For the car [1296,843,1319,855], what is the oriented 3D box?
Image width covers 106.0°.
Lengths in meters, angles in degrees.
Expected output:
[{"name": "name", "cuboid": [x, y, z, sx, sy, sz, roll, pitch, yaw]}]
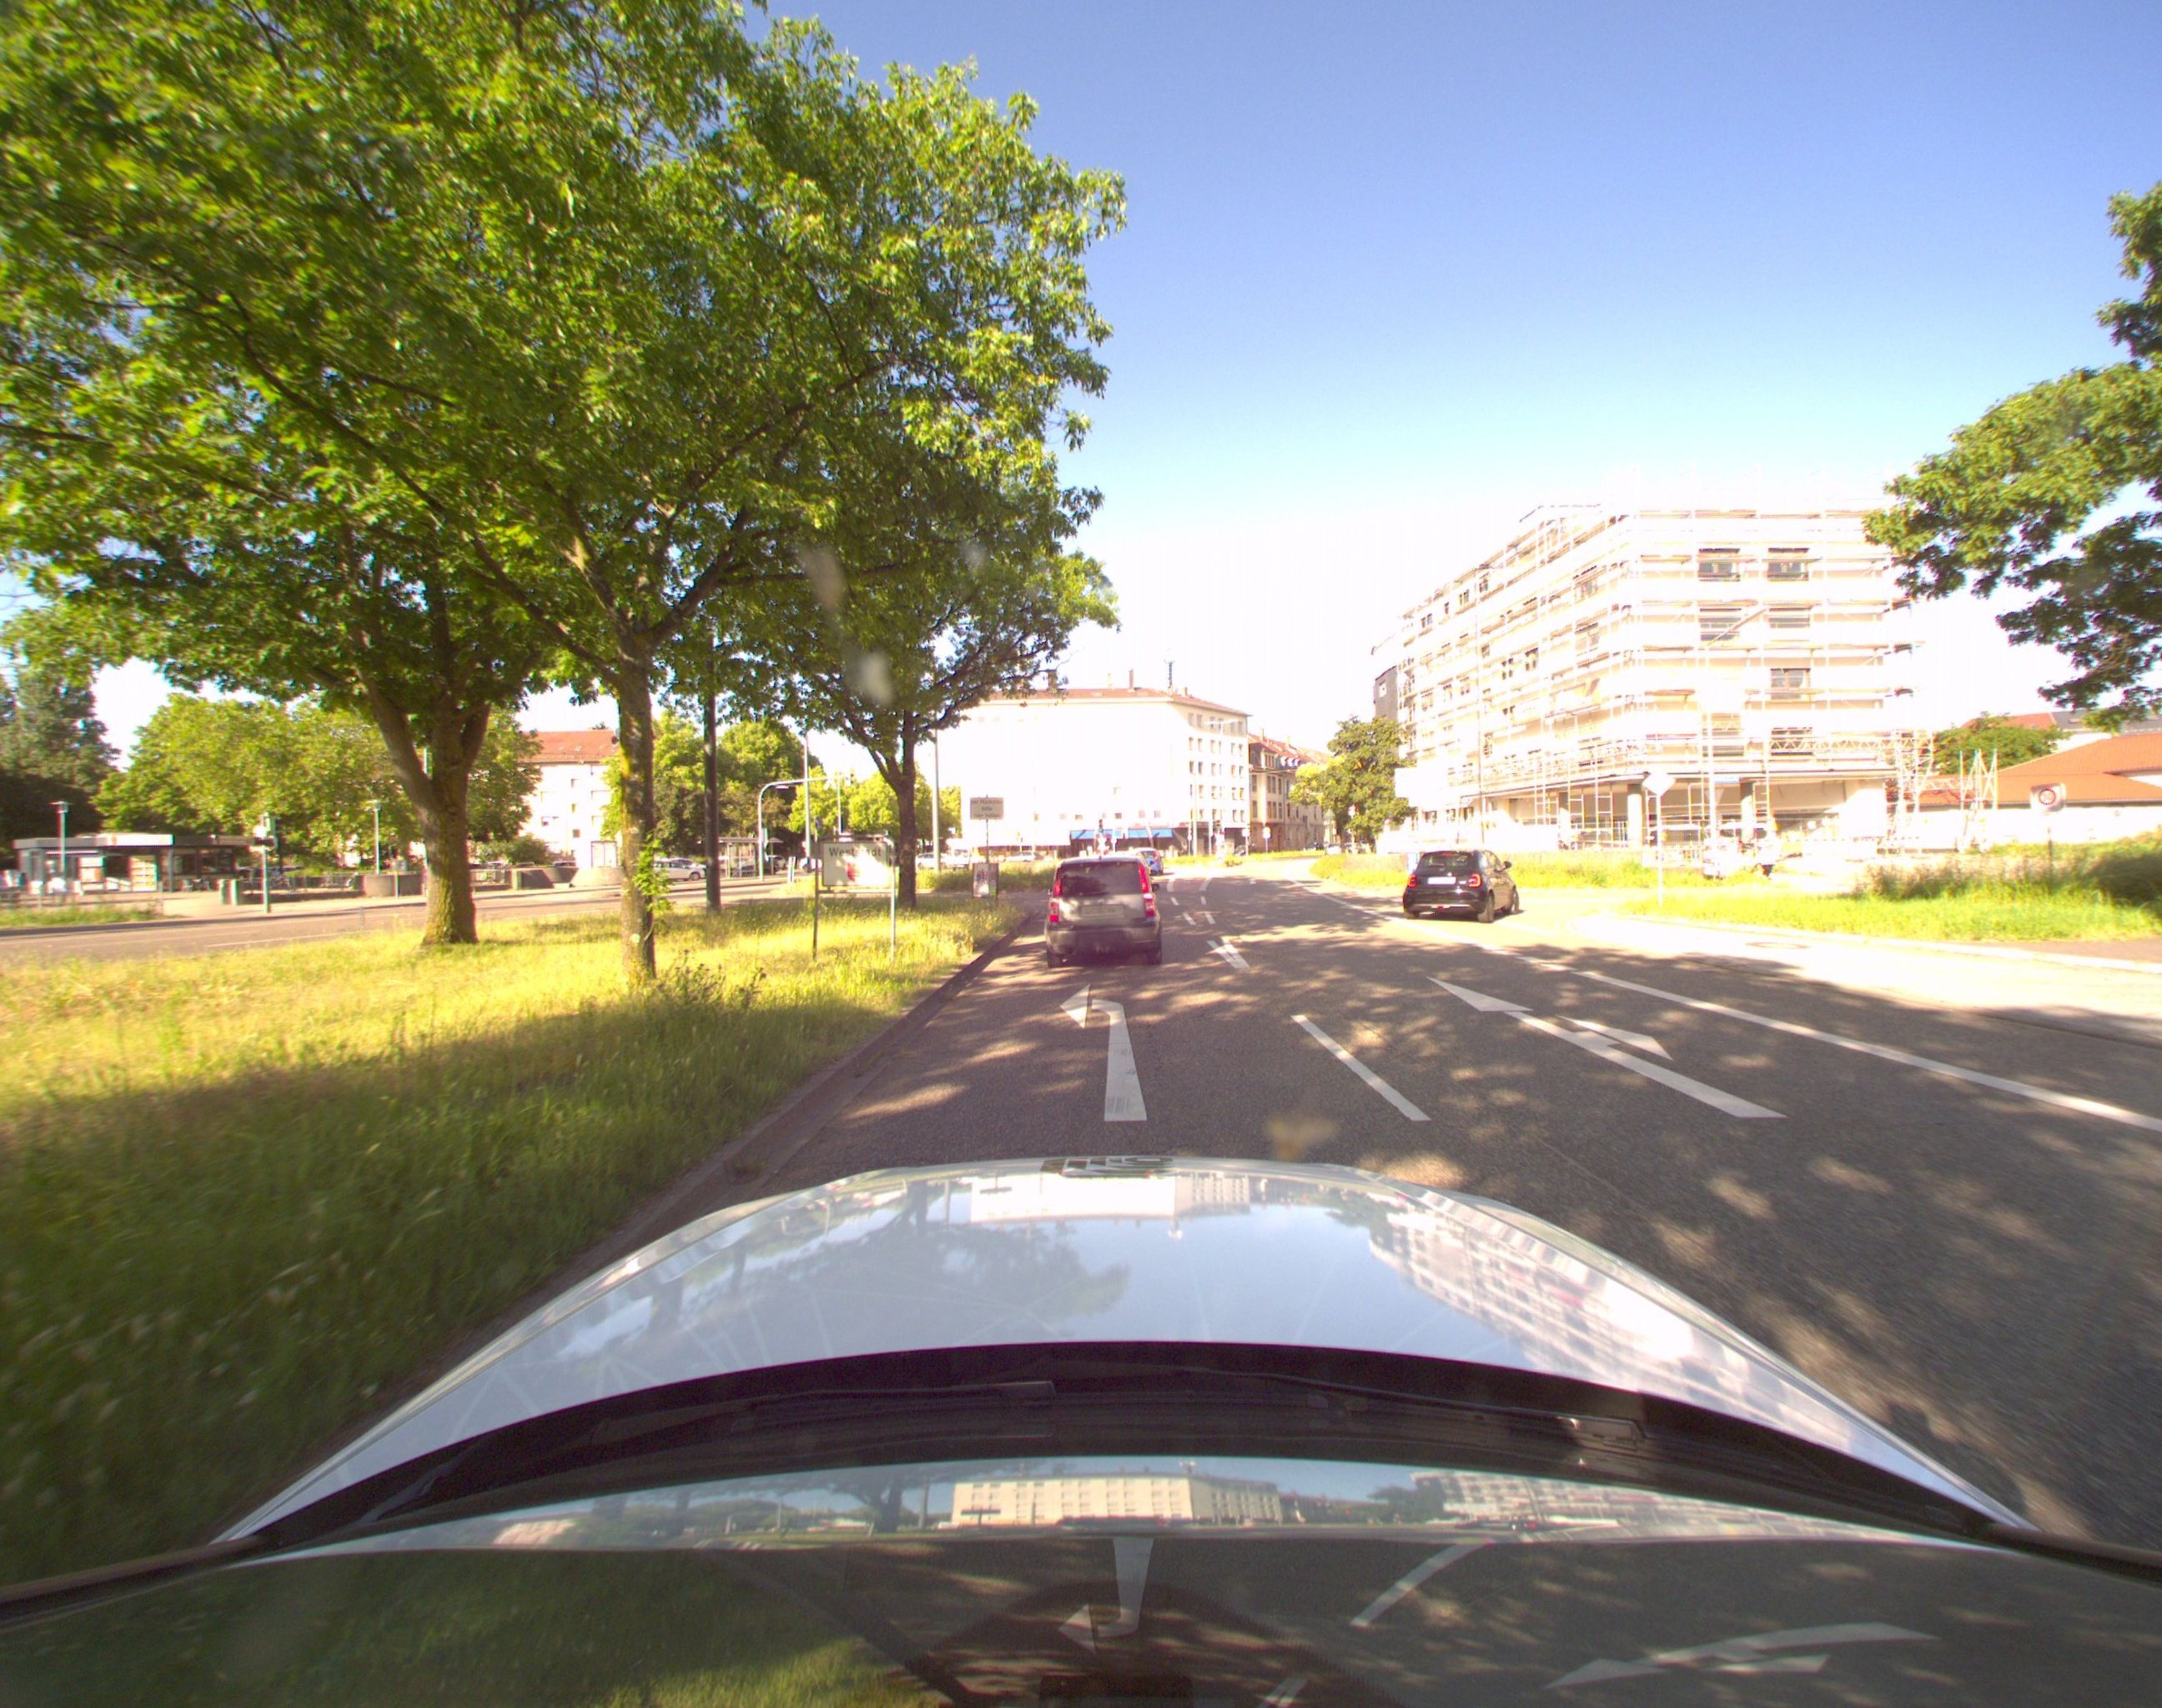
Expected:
[{"name": "car", "cuboid": [30.207, -0.653, 108.656, 1.773, 1.565, 3.790, -1, 0, 36]}]

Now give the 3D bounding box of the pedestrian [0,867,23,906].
[{"name": "pedestrian", "cuboid": [-51.170, 1.524, 38.825, 0.553, 1.829, 0.731, -1, 0, 22]}]

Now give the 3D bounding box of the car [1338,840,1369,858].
[{"name": "car", "cuboid": [26.241, -0.493, 78.295, 1.802, 1.508, 4.026, -1, 1, 34]}]

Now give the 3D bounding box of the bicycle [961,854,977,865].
[{"name": "bicycle", "cuboid": [-11.179, 0.536, 81.086, 1.579, 1.090, 0.530, -1, 0, -8]}]

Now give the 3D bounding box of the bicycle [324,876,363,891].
[{"name": "bicycle", "cuboid": [-44.402, 1.779, 49.037, 1.695, 0.839, 0.541, -2, 0, -42]}]

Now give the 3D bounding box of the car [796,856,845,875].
[{"name": "car", "cuboid": [-23.972, 1.049, 75.044, 3.982, 1.572, 1.996, -2, 0, -6]}]

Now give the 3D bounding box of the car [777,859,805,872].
[{"name": "car", "cuboid": [-32.183, 1.281, 90.416, 1.588, 1.293, 3.704, -2, 1, 1]}]

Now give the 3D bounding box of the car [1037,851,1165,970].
[{"name": "car", "cuboid": [0.340, 0.738, 12.312, 1.653, 1.510, 3.254, -1, 0, 3]}]

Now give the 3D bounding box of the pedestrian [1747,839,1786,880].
[{"name": "pedestrian", "cuboid": [25.696, 0.217, 30.524, 0.649, 1.497, 0.907, -1, 0, -7]}]

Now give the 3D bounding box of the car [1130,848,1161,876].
[{"name": "car", "cuboid": [3.544, 0.396, 44.907, 1.638, 1.438, 3.400, -1, 0, 4]}]

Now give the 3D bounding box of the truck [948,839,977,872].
[{"name": "truck", "cuboid": [-9.051, 0.122, 62.505, 1.784, 2.426, 4.106, -1, 0, -3]}]

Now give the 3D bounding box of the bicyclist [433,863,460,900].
[{"name": "bicyclist", "cuboid": [-26.811, 1.165, 34.420, 0.606, 1.530, 0.680, 0, 1, 27]}]

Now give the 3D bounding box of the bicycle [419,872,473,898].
[{"name": "bicycle", "cuboid": [-26.819, 1.287, 34.414, 0.606, 1.001, 1.668, 0, 2, 26]}]

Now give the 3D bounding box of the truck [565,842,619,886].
[{"name": "truck", "cuboid": [-34.789, 0.678, 57.907, 4.768, 2.994, 2.012, 0, 1, 43]}]

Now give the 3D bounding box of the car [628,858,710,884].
[{"name": "car", "cuboid": [-27.946, 1.137, 55.337, 1.849, 1.544, 4.576, 3, 3, 44]}]

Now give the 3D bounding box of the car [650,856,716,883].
[{"name": "car", "cuboid": [-28.569, 1.084, 58.557, 1.742, 1.717, 4.025, 2, 2, 28]}]

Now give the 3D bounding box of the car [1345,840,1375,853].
[{"name": "car", "cuboid": [35.825, -1.003, 104.721, 1.906, 1.594, 3.984, -1, 0, -12]}]

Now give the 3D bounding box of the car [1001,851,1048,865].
[{"name": "car", "cuboid": [-5.274, 0.337, 75.591, 3.948, 1.243, 2.013, -1, 0, 36]}]

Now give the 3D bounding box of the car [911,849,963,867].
[{"name": "car", "cuboid": [-12.672, 0.370, 71.765, 4.346, 1.448, 1.678, -1, 0, 27]}]

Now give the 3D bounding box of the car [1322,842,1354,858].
[{"name": "car", "cuboid": [23.432, -0.383, 74.191, 1.757, 1.442, 3.642, 0, 1, 33]}]

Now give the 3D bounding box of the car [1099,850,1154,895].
[{"name": "car", "cuboid": [1.775, 0.632, 30.391, 1.750, 1.486, 4.302, -1, 0, 7]}]

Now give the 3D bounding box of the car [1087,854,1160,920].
[{"name": "car", "cuboid": [0.968, 0.739, 20.150, 1.616, 1.429, 3.688, -1, 0, 0]}]

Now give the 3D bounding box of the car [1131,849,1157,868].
[{"name": "car", "cuboid": [4.344, 0.314, 56.657, 1.684, 1.253, 3.627, -1, 0, 2]}]

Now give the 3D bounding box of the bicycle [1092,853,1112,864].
[{"name": "bicycle", "cuboid": [1.881, 0.430, 72.847, 0.789, 0.951, 1.836, 0, -1, -35]}]

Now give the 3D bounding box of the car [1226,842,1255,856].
[{"name": "car", "cuboid": [17.942, -0.578, 91.297, 1.773, 1.395, 3.749, -1, 0, 36]}]

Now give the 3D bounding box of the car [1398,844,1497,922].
[{"name": "car", "cuboid": [7.863, 0.559, 17.728, 1.660, 1.503, 3.580, -1, 0, 20]}]

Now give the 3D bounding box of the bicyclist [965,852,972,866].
[{"name": "bicyclist", "cuboid": [-11.205, 0.536, 81.064, 0.595, 1.357, 0.530, -1, 0, -8]}]
